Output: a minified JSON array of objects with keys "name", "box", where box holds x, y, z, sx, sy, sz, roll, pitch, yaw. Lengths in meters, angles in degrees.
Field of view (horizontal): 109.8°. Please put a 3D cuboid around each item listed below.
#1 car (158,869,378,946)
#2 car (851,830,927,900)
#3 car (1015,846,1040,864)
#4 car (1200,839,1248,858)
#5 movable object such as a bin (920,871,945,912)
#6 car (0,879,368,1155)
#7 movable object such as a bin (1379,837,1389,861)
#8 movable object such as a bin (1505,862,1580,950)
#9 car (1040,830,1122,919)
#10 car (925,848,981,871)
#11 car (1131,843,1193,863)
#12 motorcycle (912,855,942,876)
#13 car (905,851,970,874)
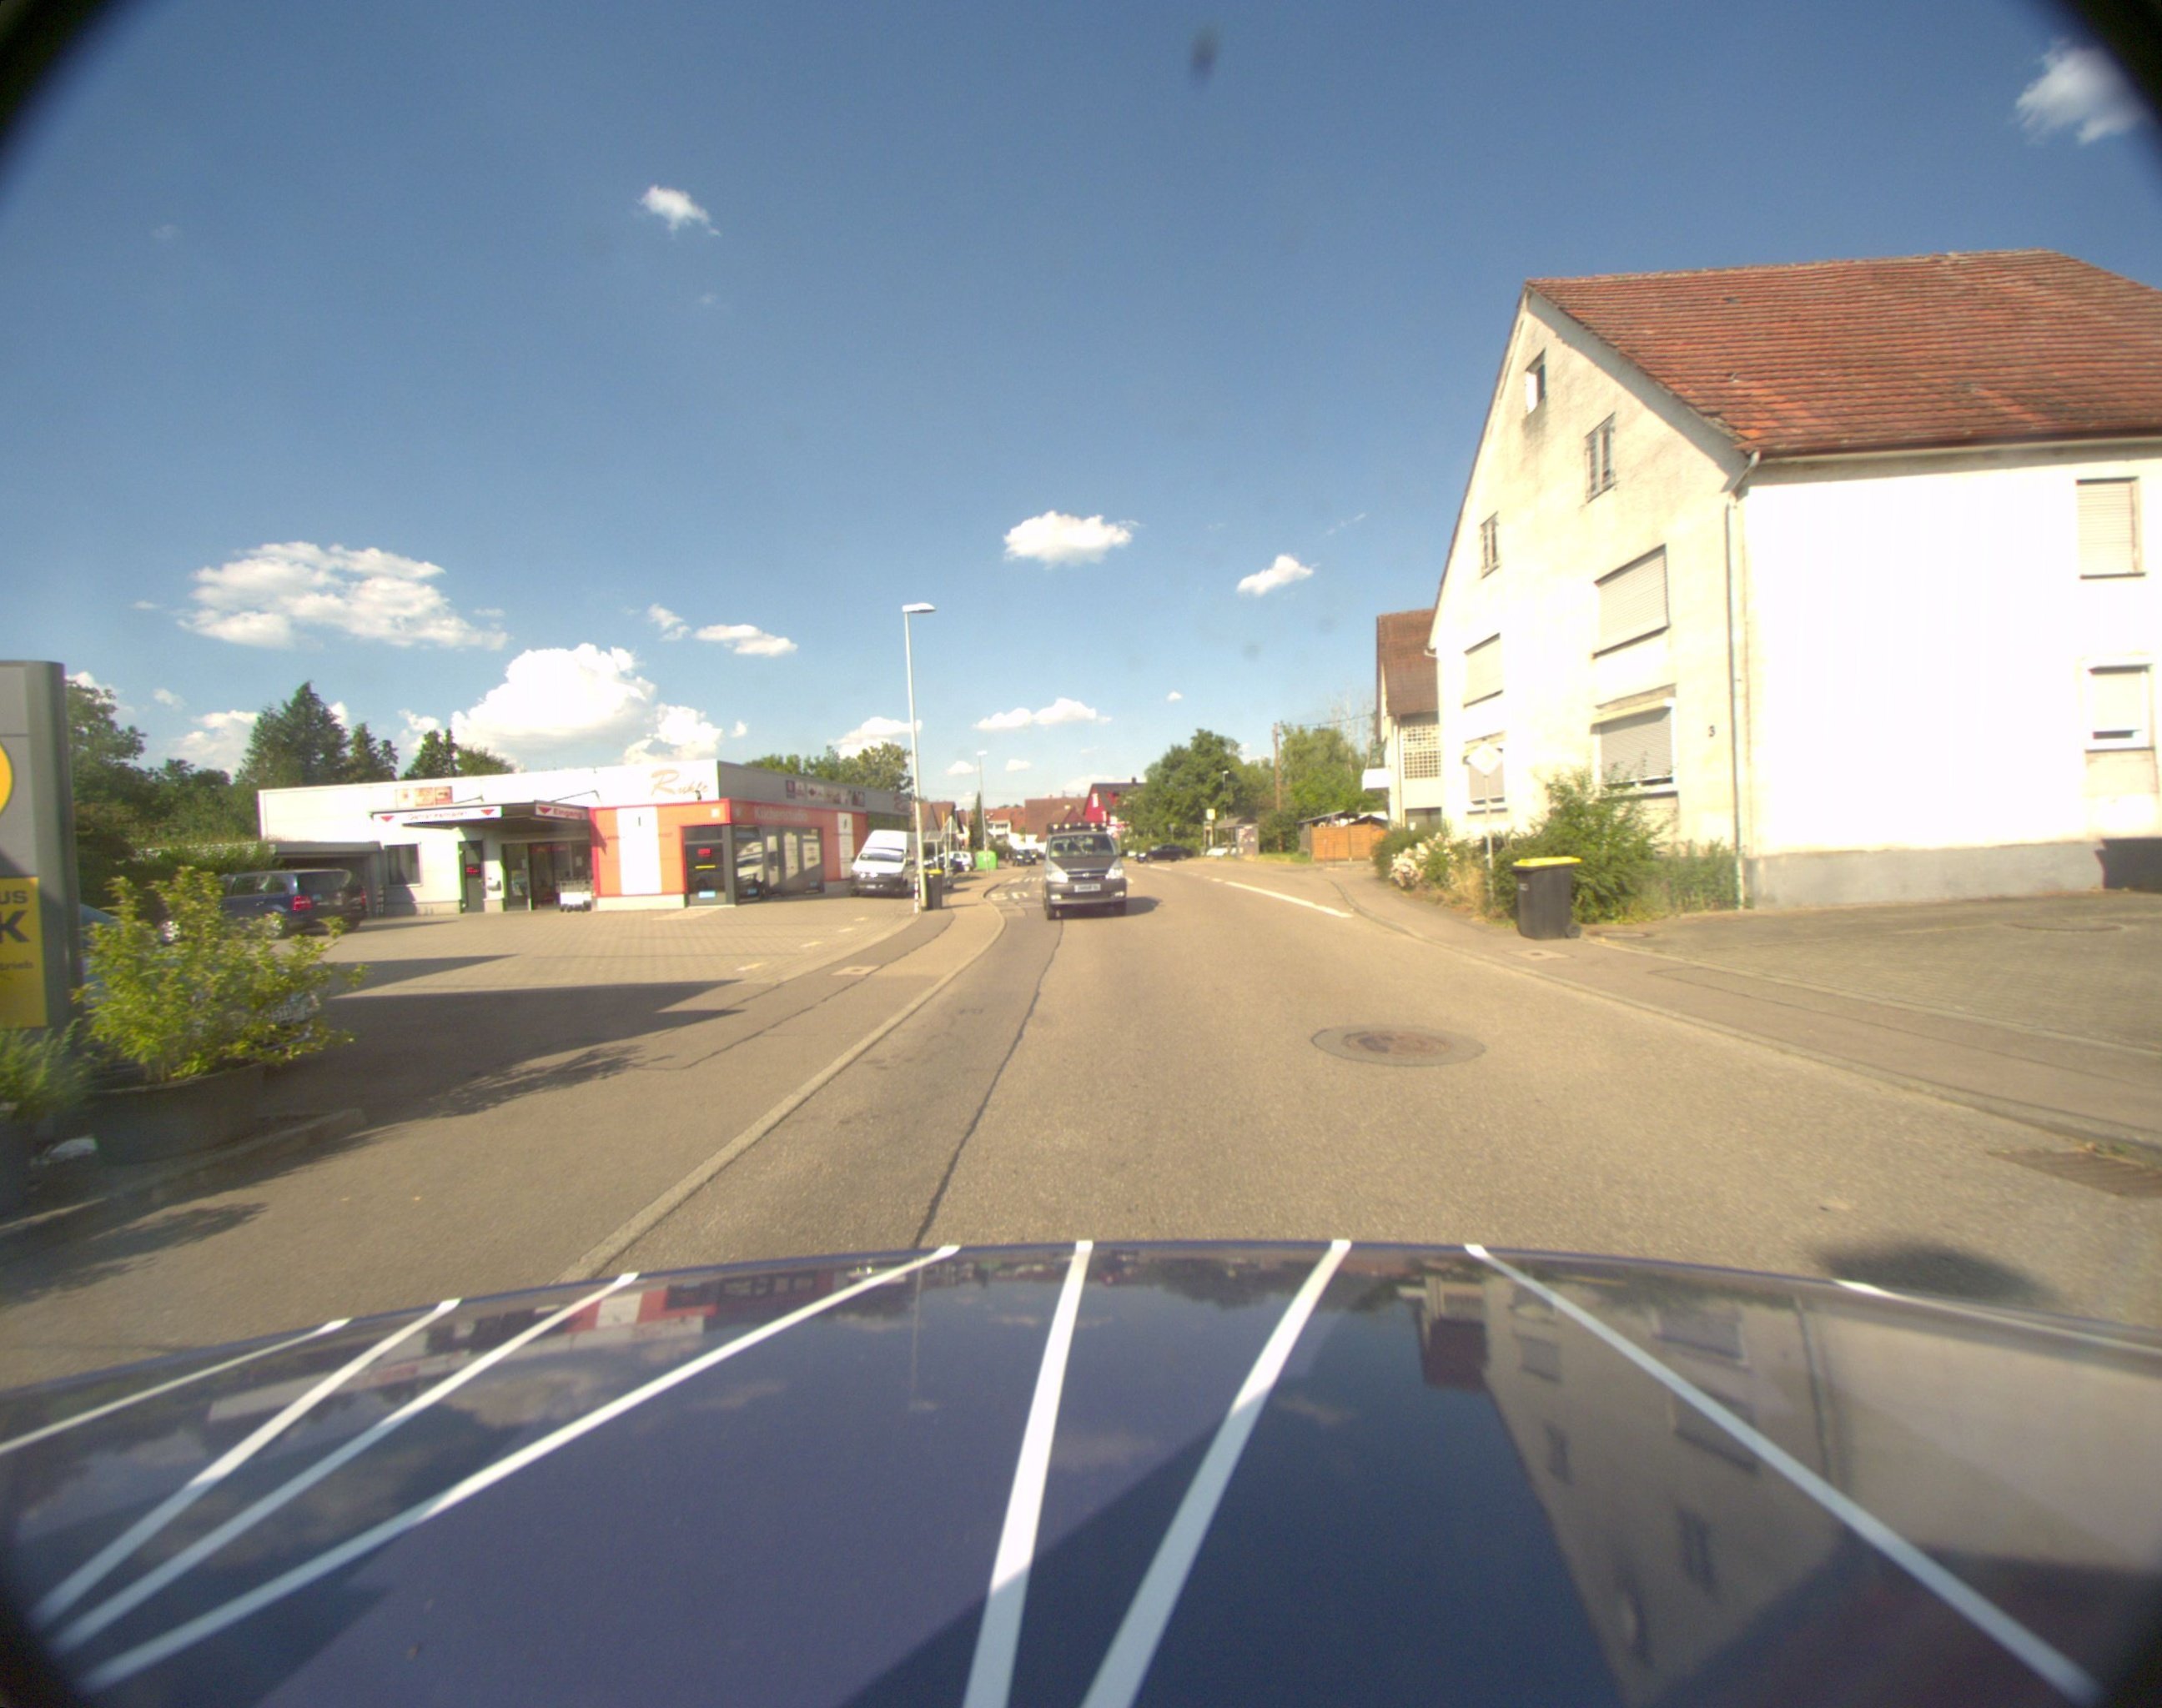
[{"name":"car","box":[-19.900,1.279,18.697,3.640,1.586,1.640,-2,3,4]},{"name":"car","box":[-7.114,0.342,28.620,1.841,2.361,5.175,-1,1,-4]},{"name":"car","box":[-5.177,0.060,73.333,1.974,1.647,3.996,-1,1,-9]},{"name":"car","box":[13.086,-0.514,69.284,4.282,1.484,1.857,-3,2,-38]},{"name":"movable object such as a bin","box":[-4.039,1.002,20.687,0.568,1.069,0.572,-2,1,-5]},{"name":"car","box":[-7.648,1.049,5.209,3.997,1.522,1.527,-2,1,0]},{"name":"movable object such as a bin","box":[14.006,-0.233,35.129,0.361,1.035,0.558,-2,3,16]},{"name":"movable object such as a bin","box":[6.215,0.690,10.257,0.612,1.095,0.575,-4,2,0]},{"name":"car","box":[0.068,0.439,19.800,1.820,1.989,4.820,-2,1,2]},{"name":"car","box":[-9.721,0.411,57.905,3.949,1.594,1.682,-2,2,0]},{"name":"car","box":[6.698,-0.140,62.934,4.849,1.423,1.768,-3,2,-22]},{"name":"motorcycle","box":[-10.097,0.754,49.843,1.832,1.316,0.639,-1,1,-18]},{"name":"car","box":[-9.772,0.577,51.946,4.074,1.409,1.625,-1,2,2]}]
